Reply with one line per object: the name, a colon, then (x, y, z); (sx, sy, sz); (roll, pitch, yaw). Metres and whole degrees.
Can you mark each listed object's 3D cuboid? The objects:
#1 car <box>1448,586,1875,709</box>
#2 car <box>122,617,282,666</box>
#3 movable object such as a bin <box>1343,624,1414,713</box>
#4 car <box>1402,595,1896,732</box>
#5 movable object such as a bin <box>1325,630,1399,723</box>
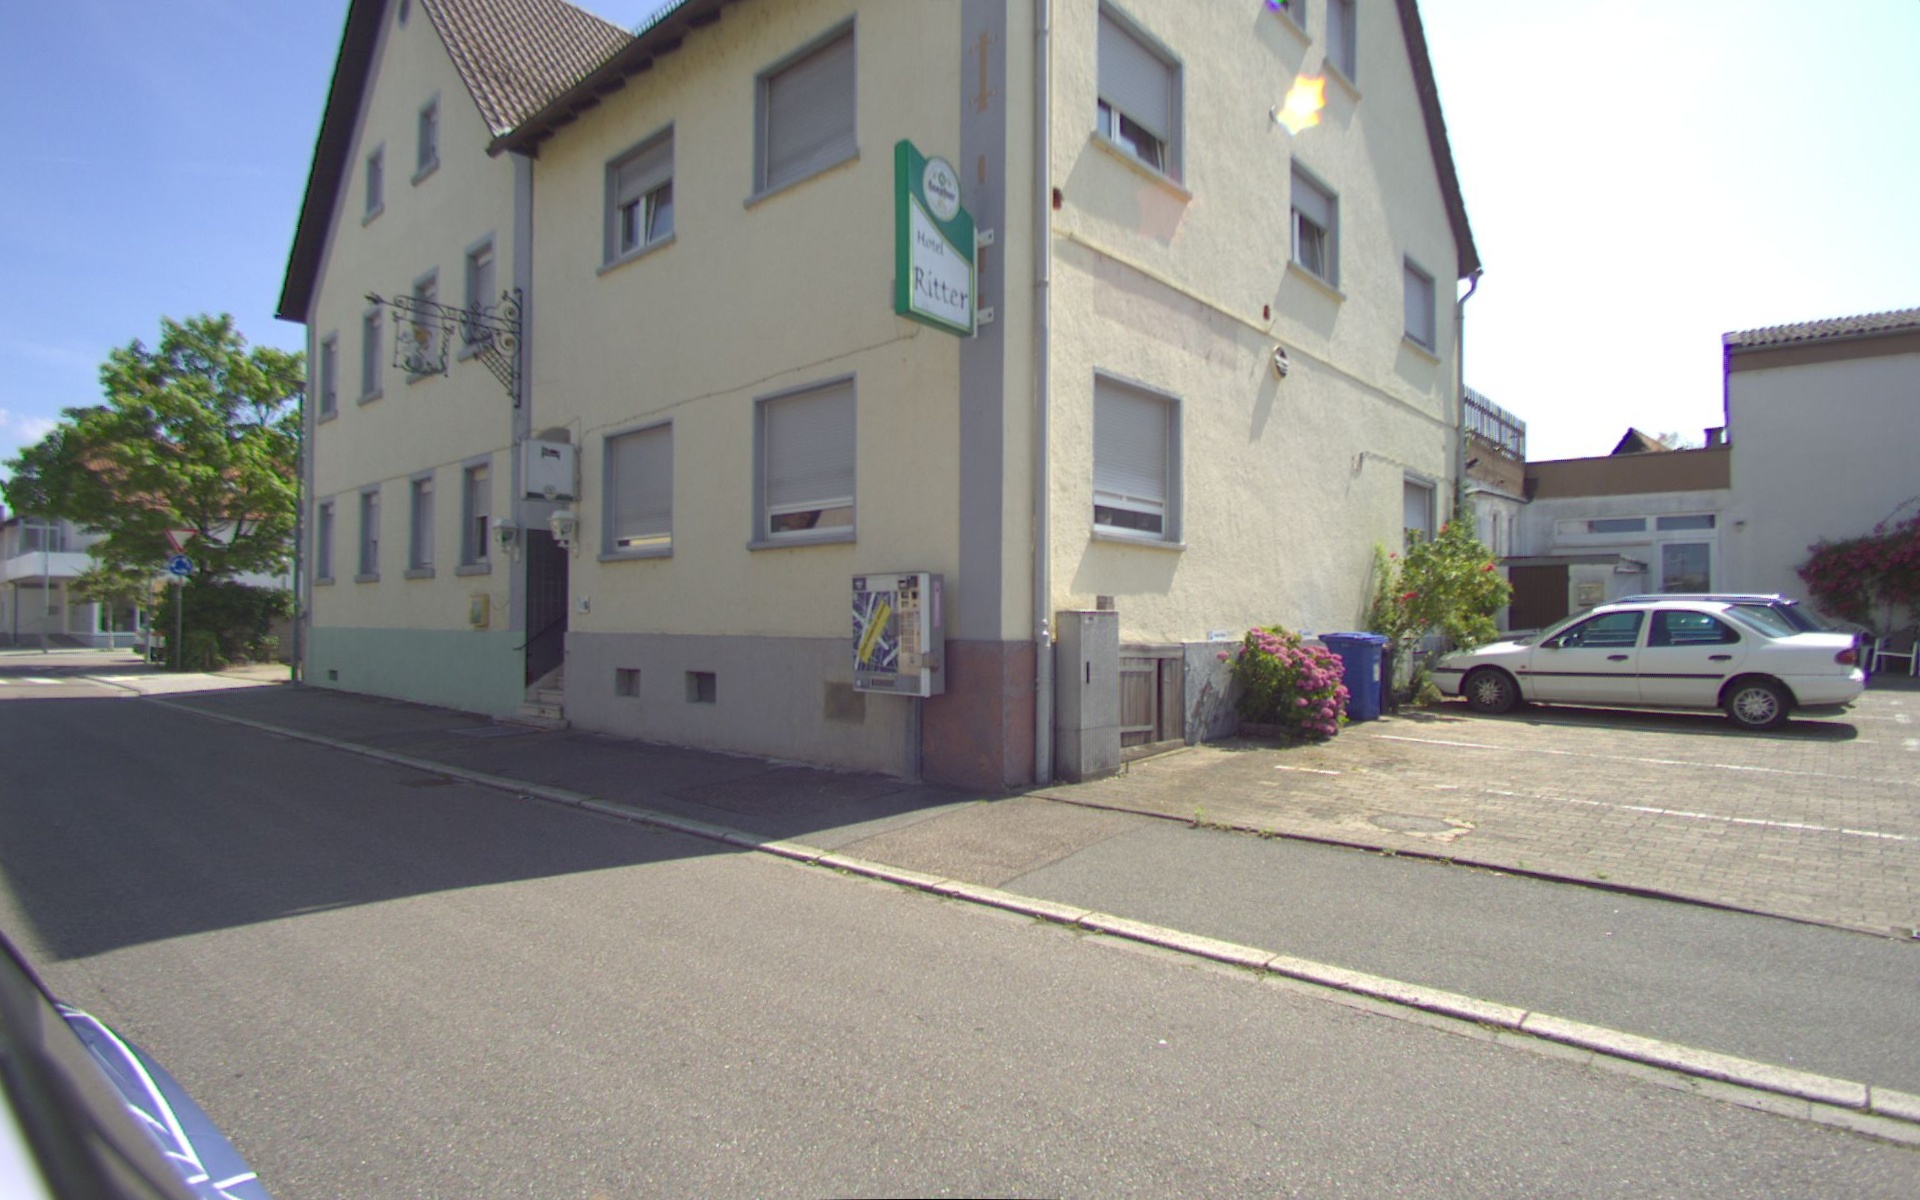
car: (9.875, 0.607, 14.564); (4.828, 1.492, 1.805); (-1, 0, 42)
car: (-27.698, 1.453, 37.138); (1.798, 1.631, 4.409); (-1, -1, 25)
movable object such as a bin: (5.383, 0.863, 13.032); (0.680, 1.080, 0.571); (-1, -1, 42)
car: (8.316, 0.677, 12.602); (4.828, 1.390, 1.805); (-1, 0, 42)
movable object such as a bin: (4.963, 0.922, 12.493); (0.680, 1.080, 0.571); (-1, -1, 42)
